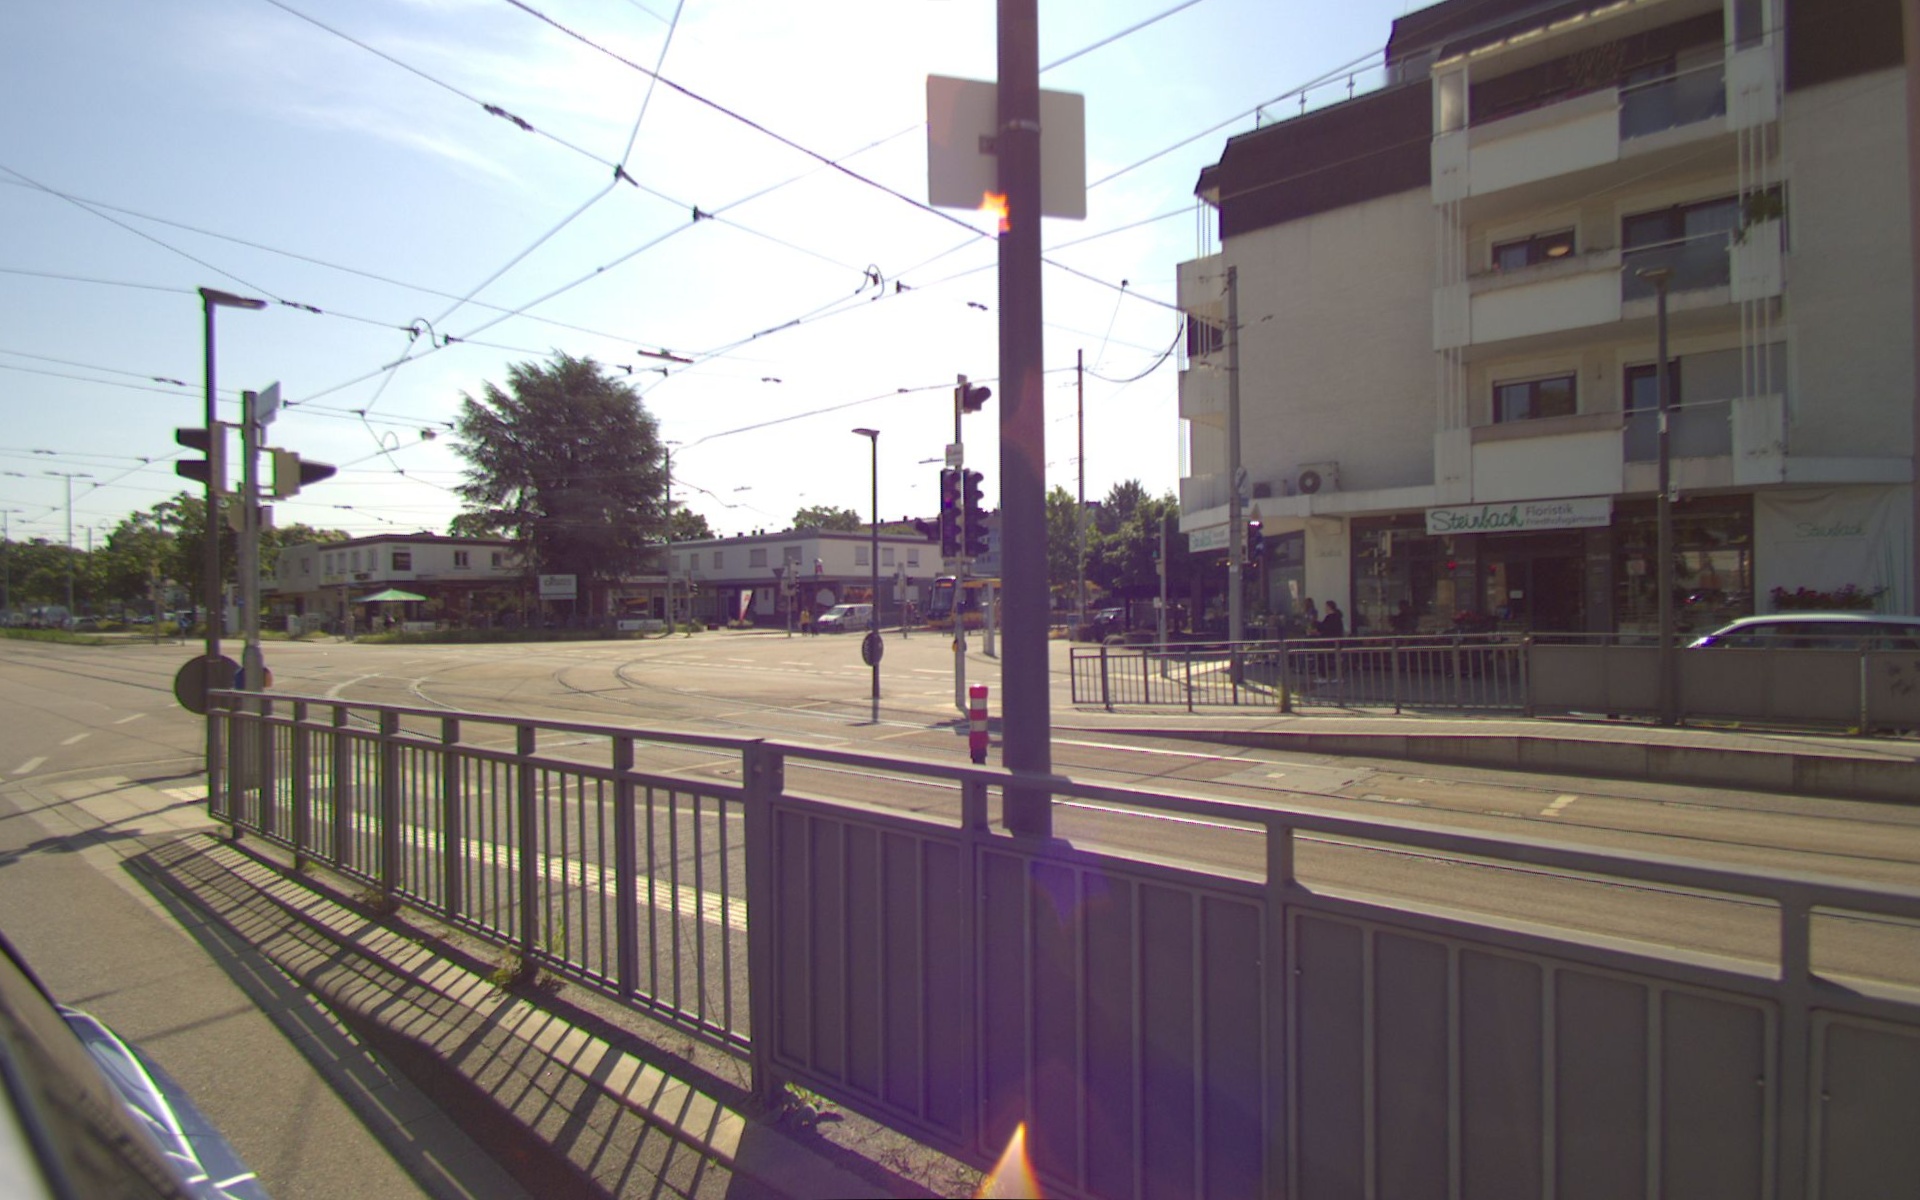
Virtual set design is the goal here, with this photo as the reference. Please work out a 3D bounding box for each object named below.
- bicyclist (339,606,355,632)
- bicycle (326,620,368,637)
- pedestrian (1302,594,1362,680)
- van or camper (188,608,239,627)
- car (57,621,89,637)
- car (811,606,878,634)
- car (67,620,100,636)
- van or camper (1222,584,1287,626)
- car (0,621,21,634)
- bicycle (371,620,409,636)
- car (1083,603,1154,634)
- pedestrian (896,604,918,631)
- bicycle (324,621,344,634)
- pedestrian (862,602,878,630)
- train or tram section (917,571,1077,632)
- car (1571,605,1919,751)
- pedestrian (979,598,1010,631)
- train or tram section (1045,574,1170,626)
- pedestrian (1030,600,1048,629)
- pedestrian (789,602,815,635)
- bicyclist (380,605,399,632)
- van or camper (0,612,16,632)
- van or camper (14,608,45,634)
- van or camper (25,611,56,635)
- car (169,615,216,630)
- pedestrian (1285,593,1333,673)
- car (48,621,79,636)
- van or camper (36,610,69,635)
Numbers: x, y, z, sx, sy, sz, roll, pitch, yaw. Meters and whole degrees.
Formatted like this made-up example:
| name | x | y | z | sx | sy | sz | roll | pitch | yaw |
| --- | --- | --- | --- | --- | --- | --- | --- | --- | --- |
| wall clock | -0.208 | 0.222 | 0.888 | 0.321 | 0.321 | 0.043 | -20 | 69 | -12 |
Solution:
| name | x | y | z | sx | sy | sz | roll | pitch | yaw |
| --- | --- | --- | --- | --- | --- | --- | --- | --- | --- |
| bicyclist | -36.674 | 1.154 | 60.535 | 0.753 | 1.570 | 0.633 | 1 | -2 | -34 |
| bicycle | -36.606 | 1.681 | 60.486 | 2.099 | 0.954 | 0.537 | -1 | -1 | -27 |
| pedestrian | 7.333 | 0.719 | 19.949 | 0.867 | 1.660 | 0.681 | -1 | -1 | -5 |
| van or camper | -114.964 | 2.696 | 155.840 | 2.299 | 2.751 | 6.001 | -1 | -1 | 42 |
| car | -91.087 | 2.930 | 103.938 | 4.282 | 1.572 | 1.869 | -1 | -1 | 40 |
| car | -7.802 | 1.328 | 68.796 | 1.776 | 1.876 | 4.597 | -1 | -1 | 40 |
| car | -86.613 | 2.756 | 99.972 | 4.284 | 1.506 | 1.868 | -1 | 2 | 42 |
| van or camper | 19.392 | 0.341 | 66.457 | 2.374 | 2.644 | 4.826 | -1 | -1 | 39 |
| car | -126.228 | 3.627 | 134.270 | 4.229 | 1.572 | 1.869 | -1 | -1 | 40 |
| bicycle | -34.340 | 1.681 | 60.960 | 2.113 | 0.897 | 0.574 | -1 | -1 | 11 |
| car | 8.308 | 0.954 | 52.772 | 1.827 | 1.511 | 4.131 | -1 | -1 | 40 |
| pedestrian | -3.355 | 1.090 | 64.165 | 0.813 | 1.693 | 1.079 | -1 | -1 | 41 |
| bicycle | -47.075 | 2.075 | 76.114 | 1.910 | 0.990 | 0.750 | -1 | -1 | 41 |
| pedestrian | -5.490 | 0.978 | 61.719 | 0.784 | 1.639 | 0.651 | -2 | -1 | 41 |
| train or tram section | 2.815 | 0.068 | 67.394 | 2.766 | 3.686 | 13.723 | -1 | -1 | 40 |
| car | 9.448 | 0.815 | 11.639 | 3.958 | 1.442 | 1.610 | -1 | 1 | 39 |
| pedestrian | 2.001 | 0.844 | 58.158 | 1.123 | 1.850 | 1.418 | -1 | -1 | 43 |
| train or tram section | 11.635 | -0.023 | 77.935 | 2.766 | 3.686 | 13.723 | -1 | -1 | 40 |
| pedestrian | 4.729 | 0.873 | 60.734 | 0.763 | 1.773 | 0.800 | -1 | -1 | 42 |
| pedestrian | -9.039 | 1.040 | 57.924 | 0.896 | 1.851 | 1.185 | -1 | -1 | 41 |
| bicyclist | -34.442 | 1.106 | 61.074 | 0.756 | 1.586 | 0.630 | -1 | -1 | 7 |
| van or camper | -131.190 | 2.972 | 138.676 | 5.449 | 2.639 | 2.087 | -1 | -2 | 41 |
| van or camper | -110.351 | 2.482 | 120.045 | 5.277 | 3.007 | 2.101 | -1 | -1 | 40 |
| van or camper | -104.391 | 2.574 | 114.871 | 4.836 | 2.652 | 2.014 | -1 | -1 | 40 |
| car | -84.085 | 2.463 | 110.889 | 1.949 | 1.581 | 3.703 | -1 | -1 | 39 |
| pedestrian | 7.371 | 0.688 | 21.377 | 0.732 | 1.660 | 0.672 | -1 | -1 | 40 |
| car | -94.744 | 3.045 | 106.949 | 4.229 | 1.506 | 1.869 | -1 | -1 | 40 |
| van or camper | -98.984 | 2.499 | 110.345 | 4.836 | 2.652 | 2.014 | -1 | -1 | 40 |
